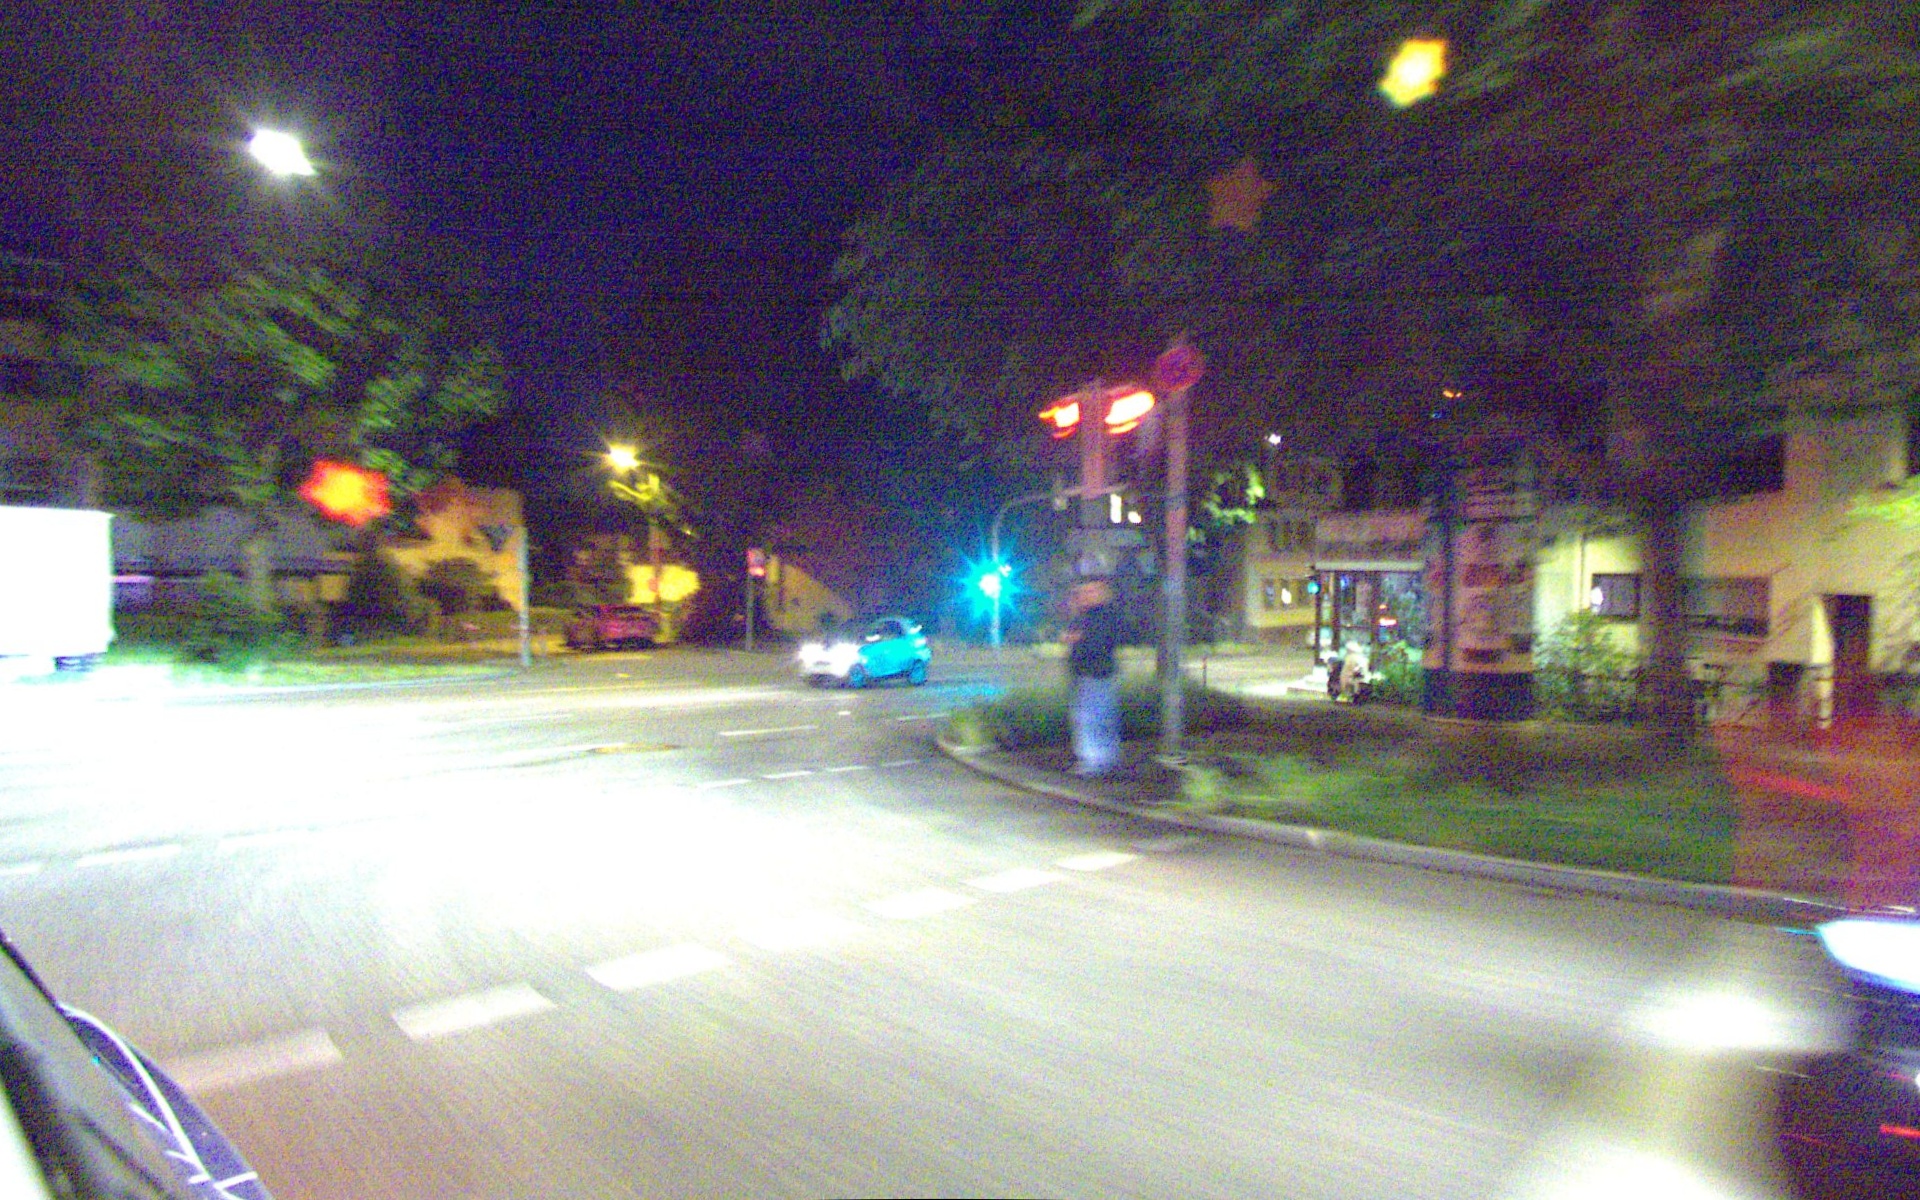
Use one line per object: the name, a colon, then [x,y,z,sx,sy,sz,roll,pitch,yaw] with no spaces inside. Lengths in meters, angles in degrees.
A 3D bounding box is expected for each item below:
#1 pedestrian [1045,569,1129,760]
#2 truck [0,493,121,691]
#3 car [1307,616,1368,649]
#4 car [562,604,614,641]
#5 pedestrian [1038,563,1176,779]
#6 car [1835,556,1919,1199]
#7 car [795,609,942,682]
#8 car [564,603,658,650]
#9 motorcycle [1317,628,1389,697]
pedestrian: [1.248,0.620,10.028,0.514,1.806,0.695,1,-2,-26]
truck: [-17.224,-0.213,15.144,2.775,3.067,6.933,4,2,45]
car: [19.077,1.631,51.123,1.628,1.505,3.359,3,1,44]
car: [-15.242,0.896,41.329,1.847,1.398,4.090,-1,0,-22]
pedestrian: [1.291,0.597,8.968,0.717,1.783,0.967,1,-2,-41]
car: [4.145,0.635,1.416,4.283,1.440,1.710,1,1,37]
car: [-1.984,0.965,22.440,1.514,1.513,3.006,-1,-2,43]
car: [-12.473,0.907,36.036,2.019,1.567,4.265,0,0,-36]
motorcycle: [7.605,1.172,19.669,0.609,1.239,2.040,0,-1,0]
